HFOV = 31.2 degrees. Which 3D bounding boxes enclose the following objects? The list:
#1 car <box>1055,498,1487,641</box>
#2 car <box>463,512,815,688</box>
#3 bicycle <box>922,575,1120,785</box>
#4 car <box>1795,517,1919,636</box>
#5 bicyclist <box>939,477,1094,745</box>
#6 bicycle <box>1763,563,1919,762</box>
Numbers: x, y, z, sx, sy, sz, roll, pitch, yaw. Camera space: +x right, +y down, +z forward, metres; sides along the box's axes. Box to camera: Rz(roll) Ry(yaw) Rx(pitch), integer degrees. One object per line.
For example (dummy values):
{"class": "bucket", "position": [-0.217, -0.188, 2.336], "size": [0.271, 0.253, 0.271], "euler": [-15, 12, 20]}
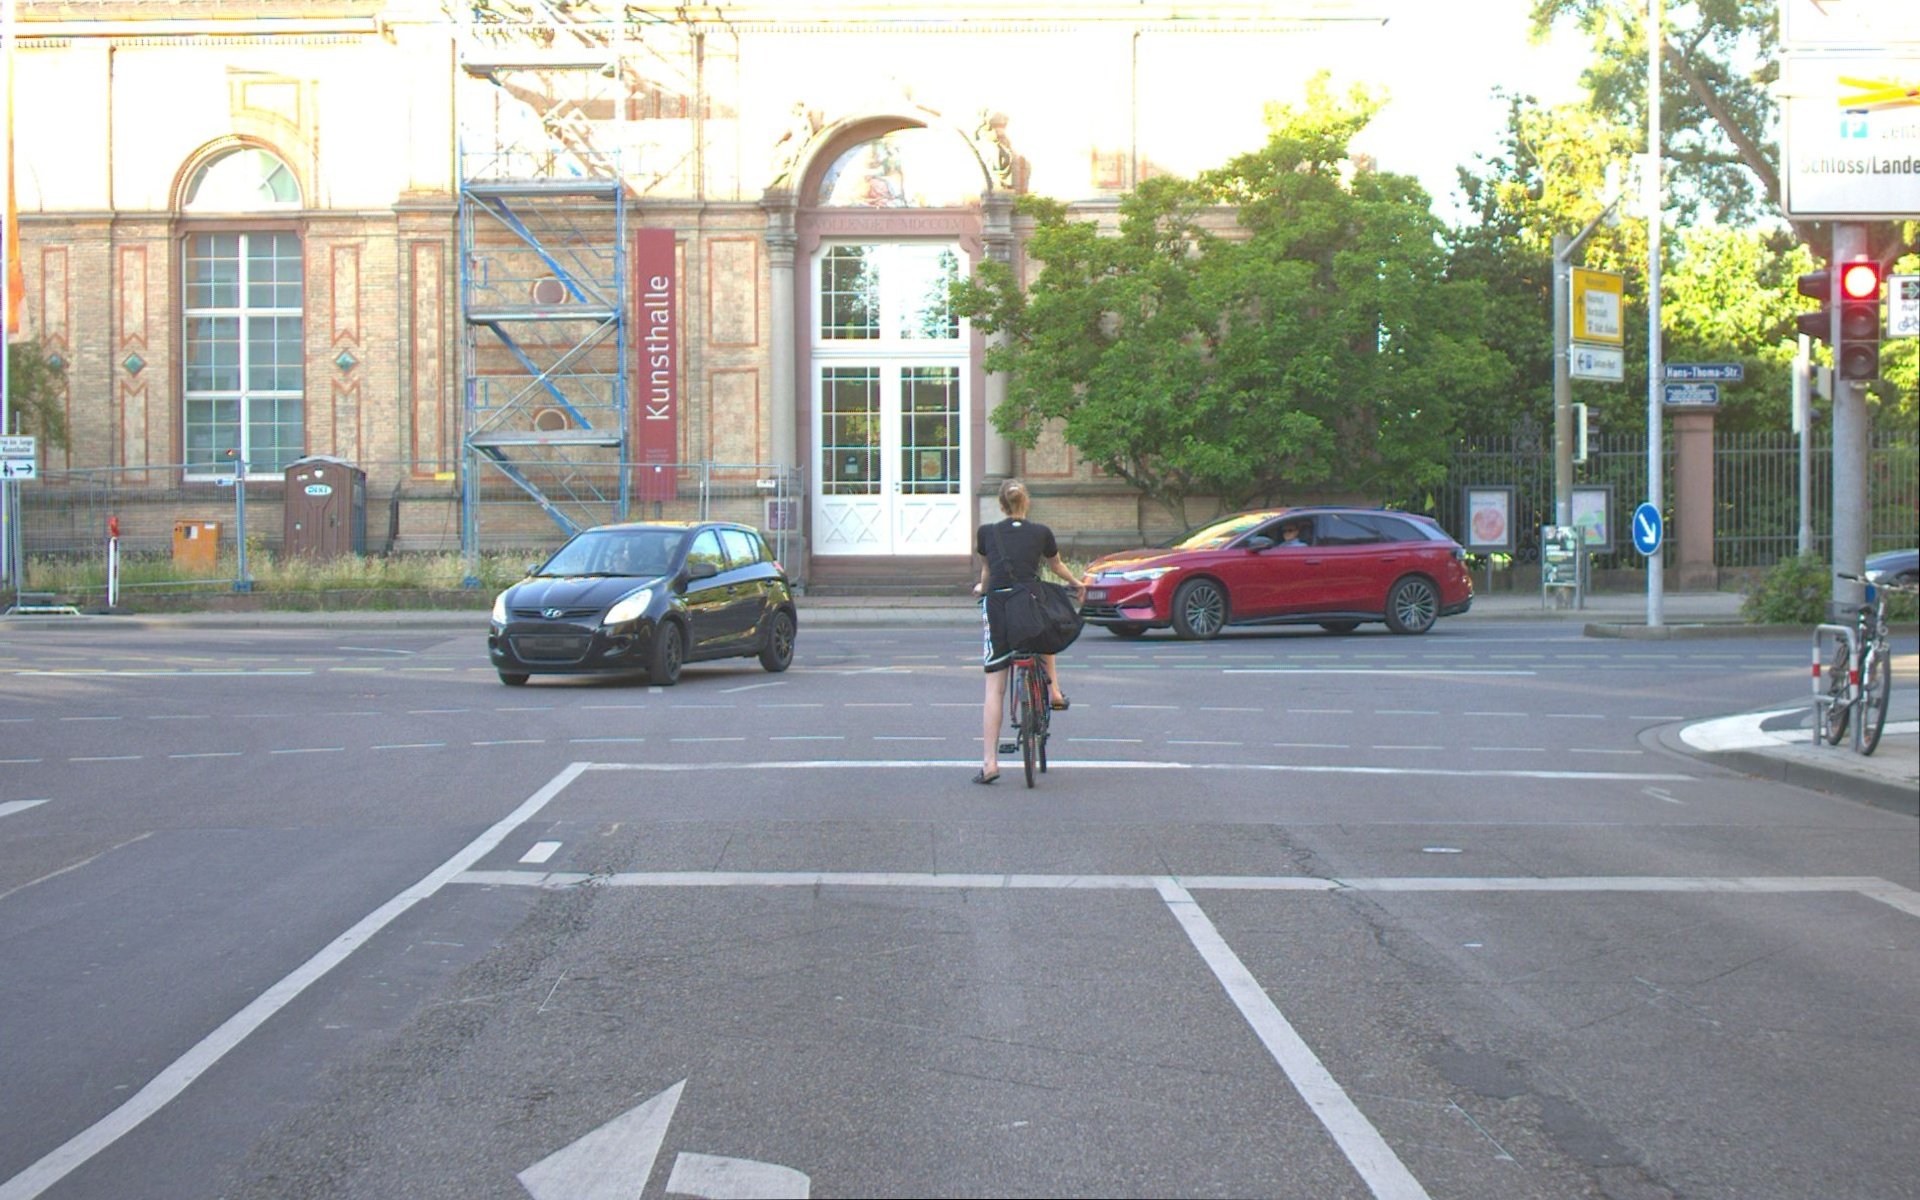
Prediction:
{"class": "car", "position": [3.724, -0.402, 40.989], "size": [4.831, 1.540, 1.837], "euler": [-2, 2, -24]}
{"class": "car", "position": [-2.925, -0.043, 32.148], "size": [1.659, 1.466, 3.850], "euler": [0, 2, 22]}
{"class": "bicycle", "position": [0.379, 0.441, 19.908], "size": [0.712, 1.152, 2.067], "euler": [0, 0, 14]}
{"class": "car", "position": [13.038, -0.343, 43.567], "size": [4.407, 1.454, 1.788], "euler": [-1, 1, -9]}
{"class": "bicyclist", "position": [0.330, 0.065, 19.692], "size": [0.716, 1.497, 0.850], "euler": [0, 0, 14]}
{"class": "bicycle", "position": [5.537, 0.377, 21.445], "size": [0.582, 1.184, 1.920], "euler": [0, 0, -1]}
